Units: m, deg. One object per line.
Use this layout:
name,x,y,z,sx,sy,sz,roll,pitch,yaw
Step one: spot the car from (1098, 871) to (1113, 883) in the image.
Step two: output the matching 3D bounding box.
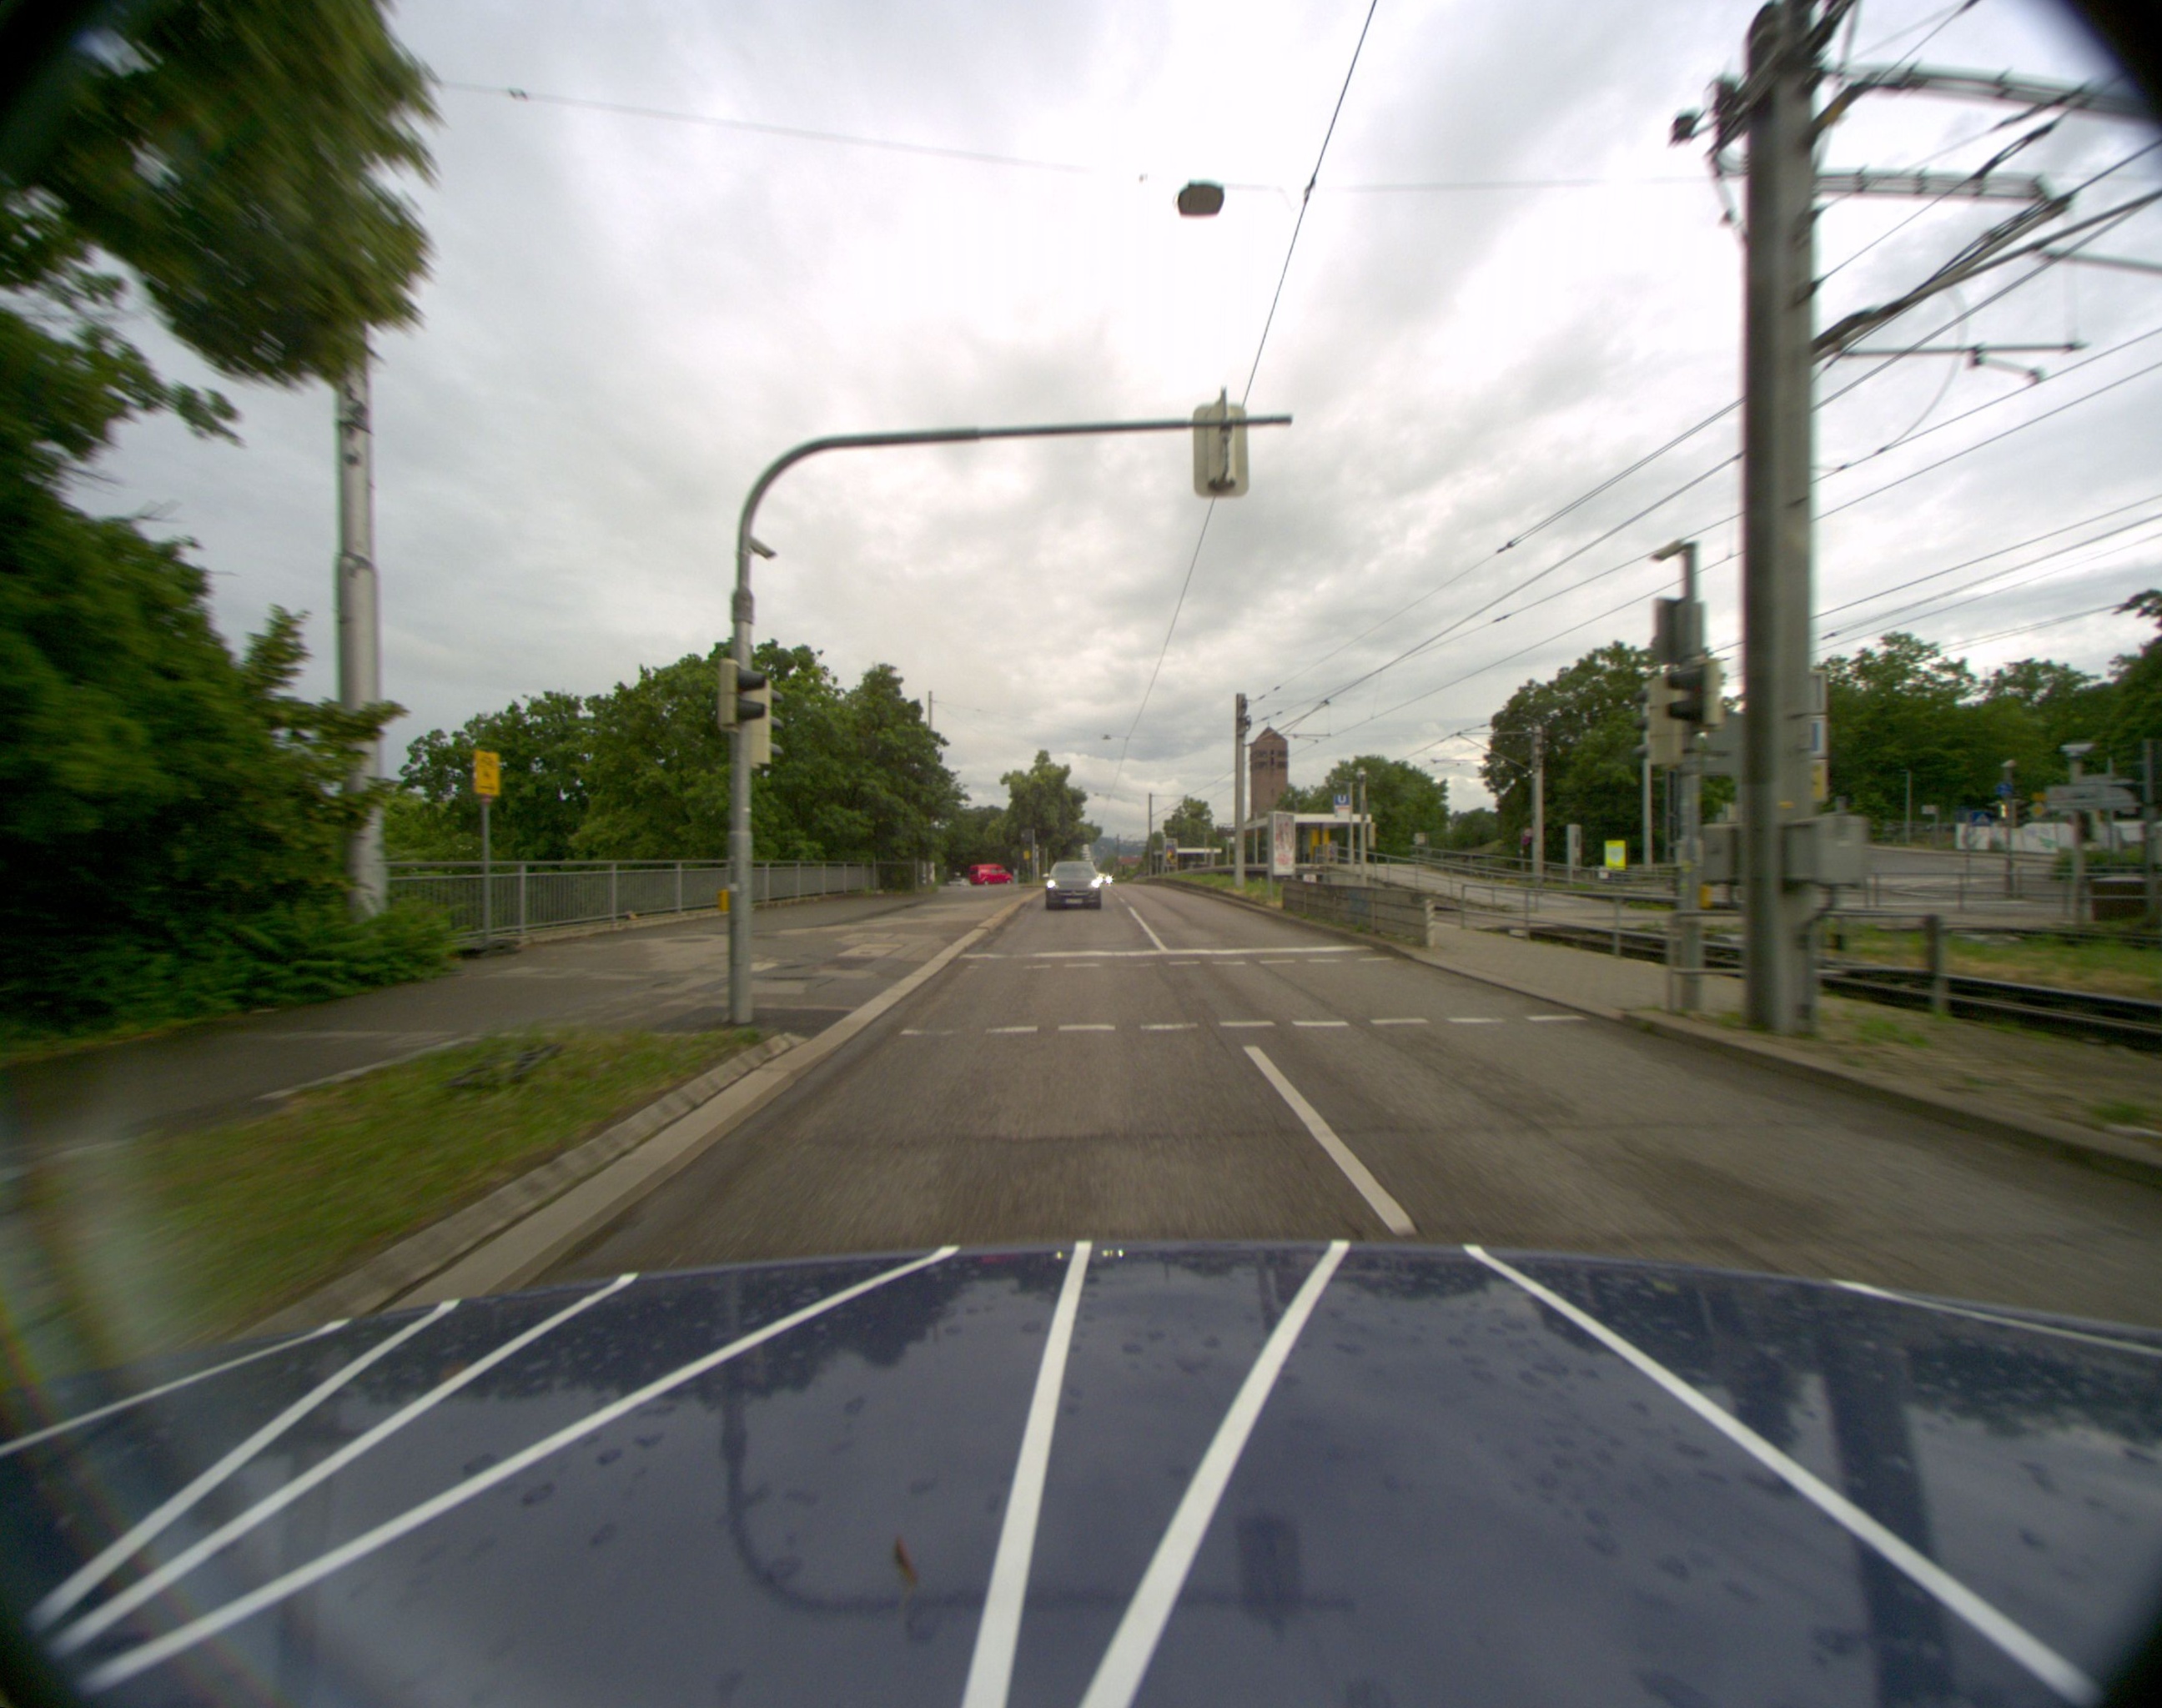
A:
car,3.164,2.977,98.364,1.899,1.432,4.247,-1,-1,1

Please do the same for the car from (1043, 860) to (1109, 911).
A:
car,-0.120,0.960,24.542,1.899,1.432,4.474,-1,-1,1

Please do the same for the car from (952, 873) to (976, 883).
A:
car,-18.734,3.883,121.934,3.793,1.505,1.893,-1,0,45

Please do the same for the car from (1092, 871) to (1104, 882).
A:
car,2.589,3.533,118.619,1.812,1.566,3.971,-2,0,1

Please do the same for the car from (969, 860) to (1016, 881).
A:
car,-9.872,1.847,84.683,1.994,2.179,5.041,-1,0,43
